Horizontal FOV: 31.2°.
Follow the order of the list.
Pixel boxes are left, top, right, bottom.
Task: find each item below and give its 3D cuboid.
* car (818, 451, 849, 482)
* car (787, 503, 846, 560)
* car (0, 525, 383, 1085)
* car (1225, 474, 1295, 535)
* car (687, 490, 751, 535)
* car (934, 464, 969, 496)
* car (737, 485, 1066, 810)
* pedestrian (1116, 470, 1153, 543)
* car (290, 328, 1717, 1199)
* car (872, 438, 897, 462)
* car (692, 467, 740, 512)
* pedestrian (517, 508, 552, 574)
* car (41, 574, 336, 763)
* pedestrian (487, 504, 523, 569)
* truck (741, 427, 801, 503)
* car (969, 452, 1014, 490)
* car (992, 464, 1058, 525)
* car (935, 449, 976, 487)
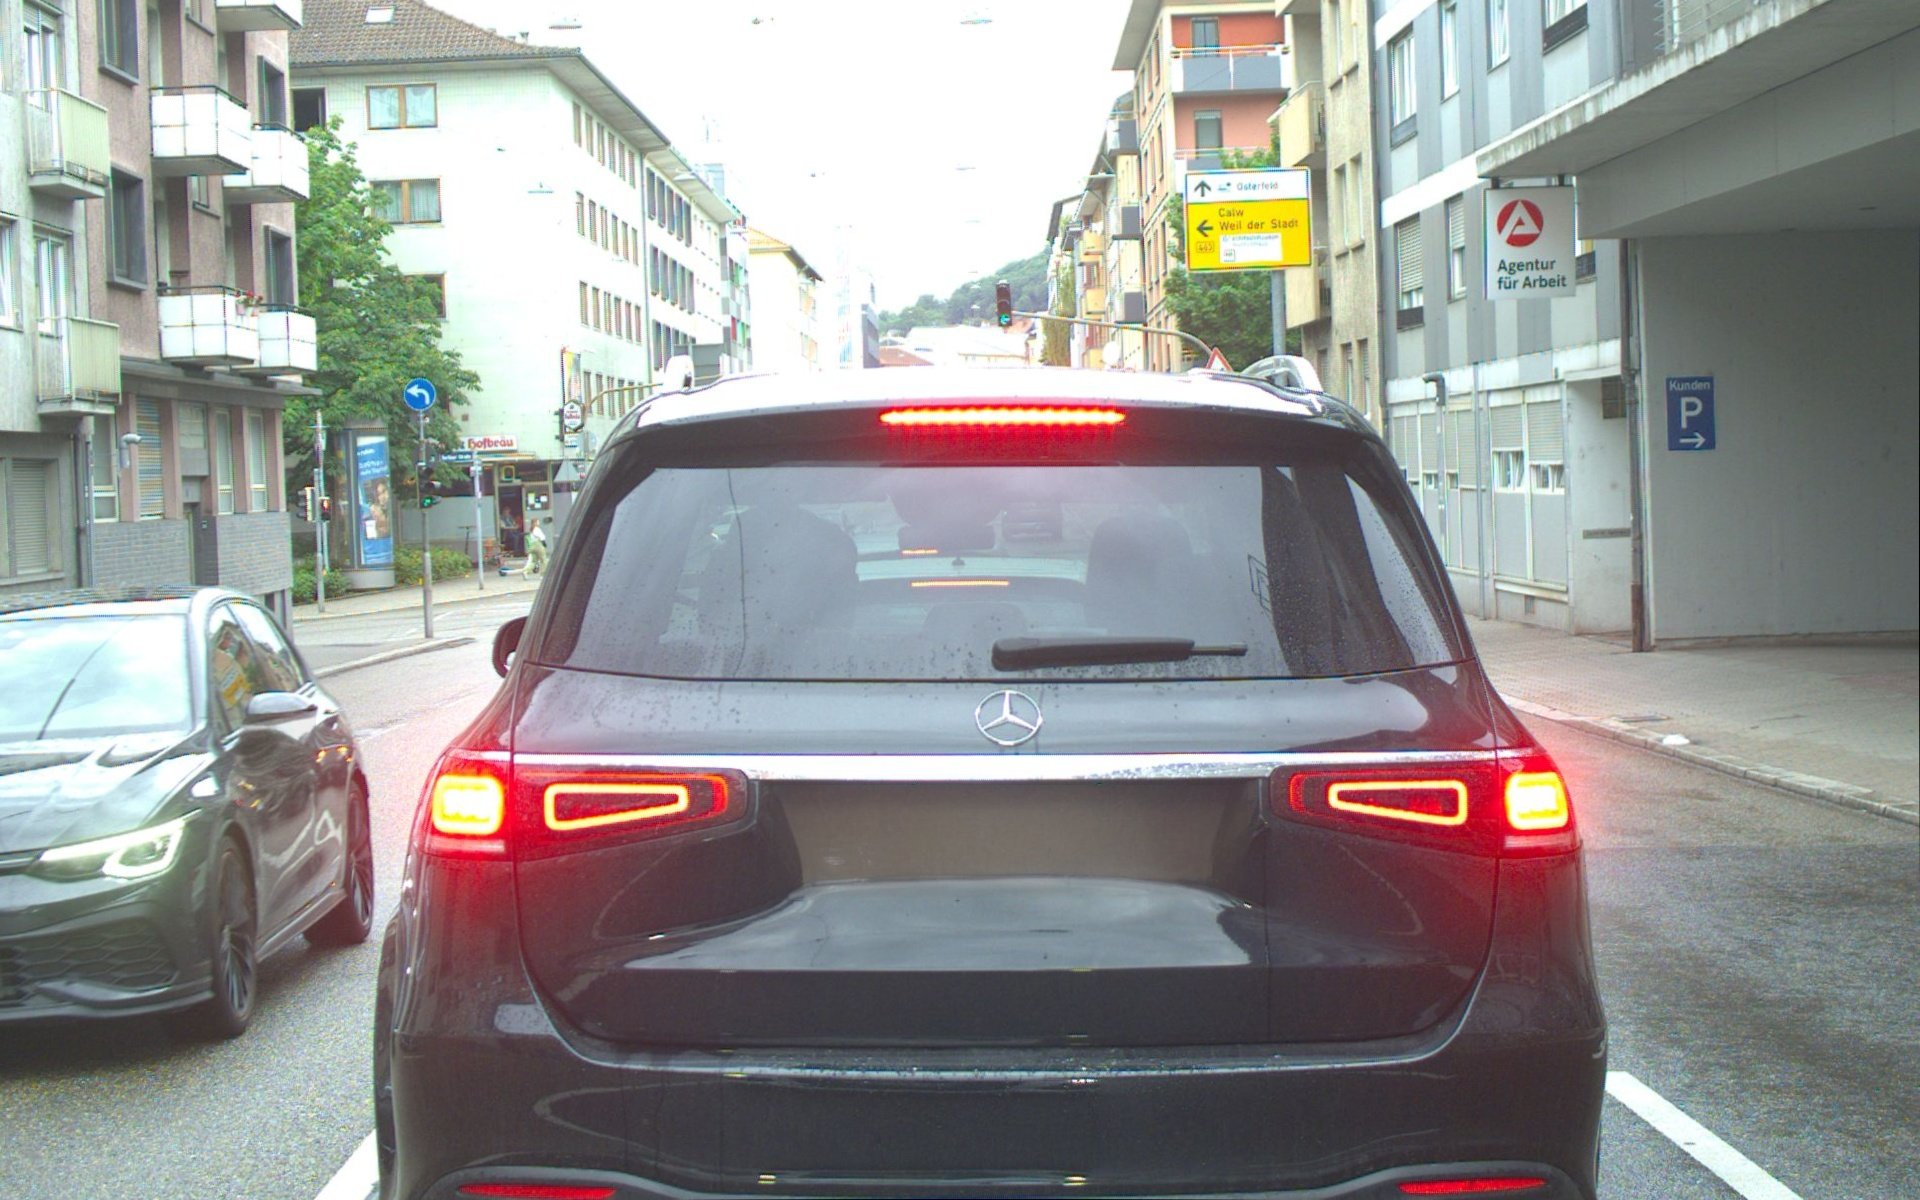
[{"bbox_3d":[-7.153,-7.497,193.628,1.618,1.534,4.218,-3,1,-3],"label":"car"},{"bbox_3d":[-4.231,-1.989,101.215,1.618,1.534,4.218,-3,1,-3],"label":"car"},{"bbox_3d":[-3.195,0.620,11.962,1.694,1.575,4.218,-4,0,-2],"label":"car"},{"bbox_3d":[8.219,-2.634,94.529,1.671,1.583,3.330,-2,1,2],"label":"car"},{"bbox_3d":[-7.732,-2.791,110.453,1.885,1.260,4.218,-3,1,-3],"label":"car"},{"bbox_3d":[-0.464,-6.519,187.396,1.618,1.534,4.218,-3,1,-3],"label":"car"},{"bbox_3d":[-0.418,0.239,20.830,1.751,1.725,4.218,-1,1,-3],"label":"car"},{"bbox_3d":[4.920,-2.637,96.870,0.923,2.007,0.706,-2,1,-2],"label":"pedestrian"},{"bbox_3d":[0.032,0.510,7.016,1.985,1.799,4.390,1,1,-1],"label":"car"},{"bbox_3d":[-5.476,-10.880,249.980,1.618,1.534,4.218,-3,1,-3],"label":"car"},{"bbox_3d":[-9.323,-4.203,131.583,1.618,1.534,4.218,-3,1,-3],"label":"car"},{"bbox_3d":[-11.575,-1.608,93.478,0.636,1.758,0.773,-2,1,13],"label":"pedestrian"},{"bbox_3d":[-6.596,0.532,29.813,1.598,1.365,4.363,-4,1,-2],"label":"car"},{"bbox_3d":[-13.519,-1.878,102.074,0.923,1.895,0.706,-2,1,-2],"label":"pedestrian"},{"bbox_3d":[-8.619,-6.101,157.000,2.479,3.035,9.921,-3,1,-3],"label":"truck"},{"bbox_3d":[1.332,-5.473,145.913,1.618,1.382,4.218,-3,1,-3],"label":"car"},{"bbox_3d":[2.058,-3.371,110.190,1.723,1.754,4.218,-3,1,-3],"label":"car"},{"bbox_3d":[-0.210,-6.046,157.465,1.618,1.534,4.218,-3,1,-3],"label":"car"}]
